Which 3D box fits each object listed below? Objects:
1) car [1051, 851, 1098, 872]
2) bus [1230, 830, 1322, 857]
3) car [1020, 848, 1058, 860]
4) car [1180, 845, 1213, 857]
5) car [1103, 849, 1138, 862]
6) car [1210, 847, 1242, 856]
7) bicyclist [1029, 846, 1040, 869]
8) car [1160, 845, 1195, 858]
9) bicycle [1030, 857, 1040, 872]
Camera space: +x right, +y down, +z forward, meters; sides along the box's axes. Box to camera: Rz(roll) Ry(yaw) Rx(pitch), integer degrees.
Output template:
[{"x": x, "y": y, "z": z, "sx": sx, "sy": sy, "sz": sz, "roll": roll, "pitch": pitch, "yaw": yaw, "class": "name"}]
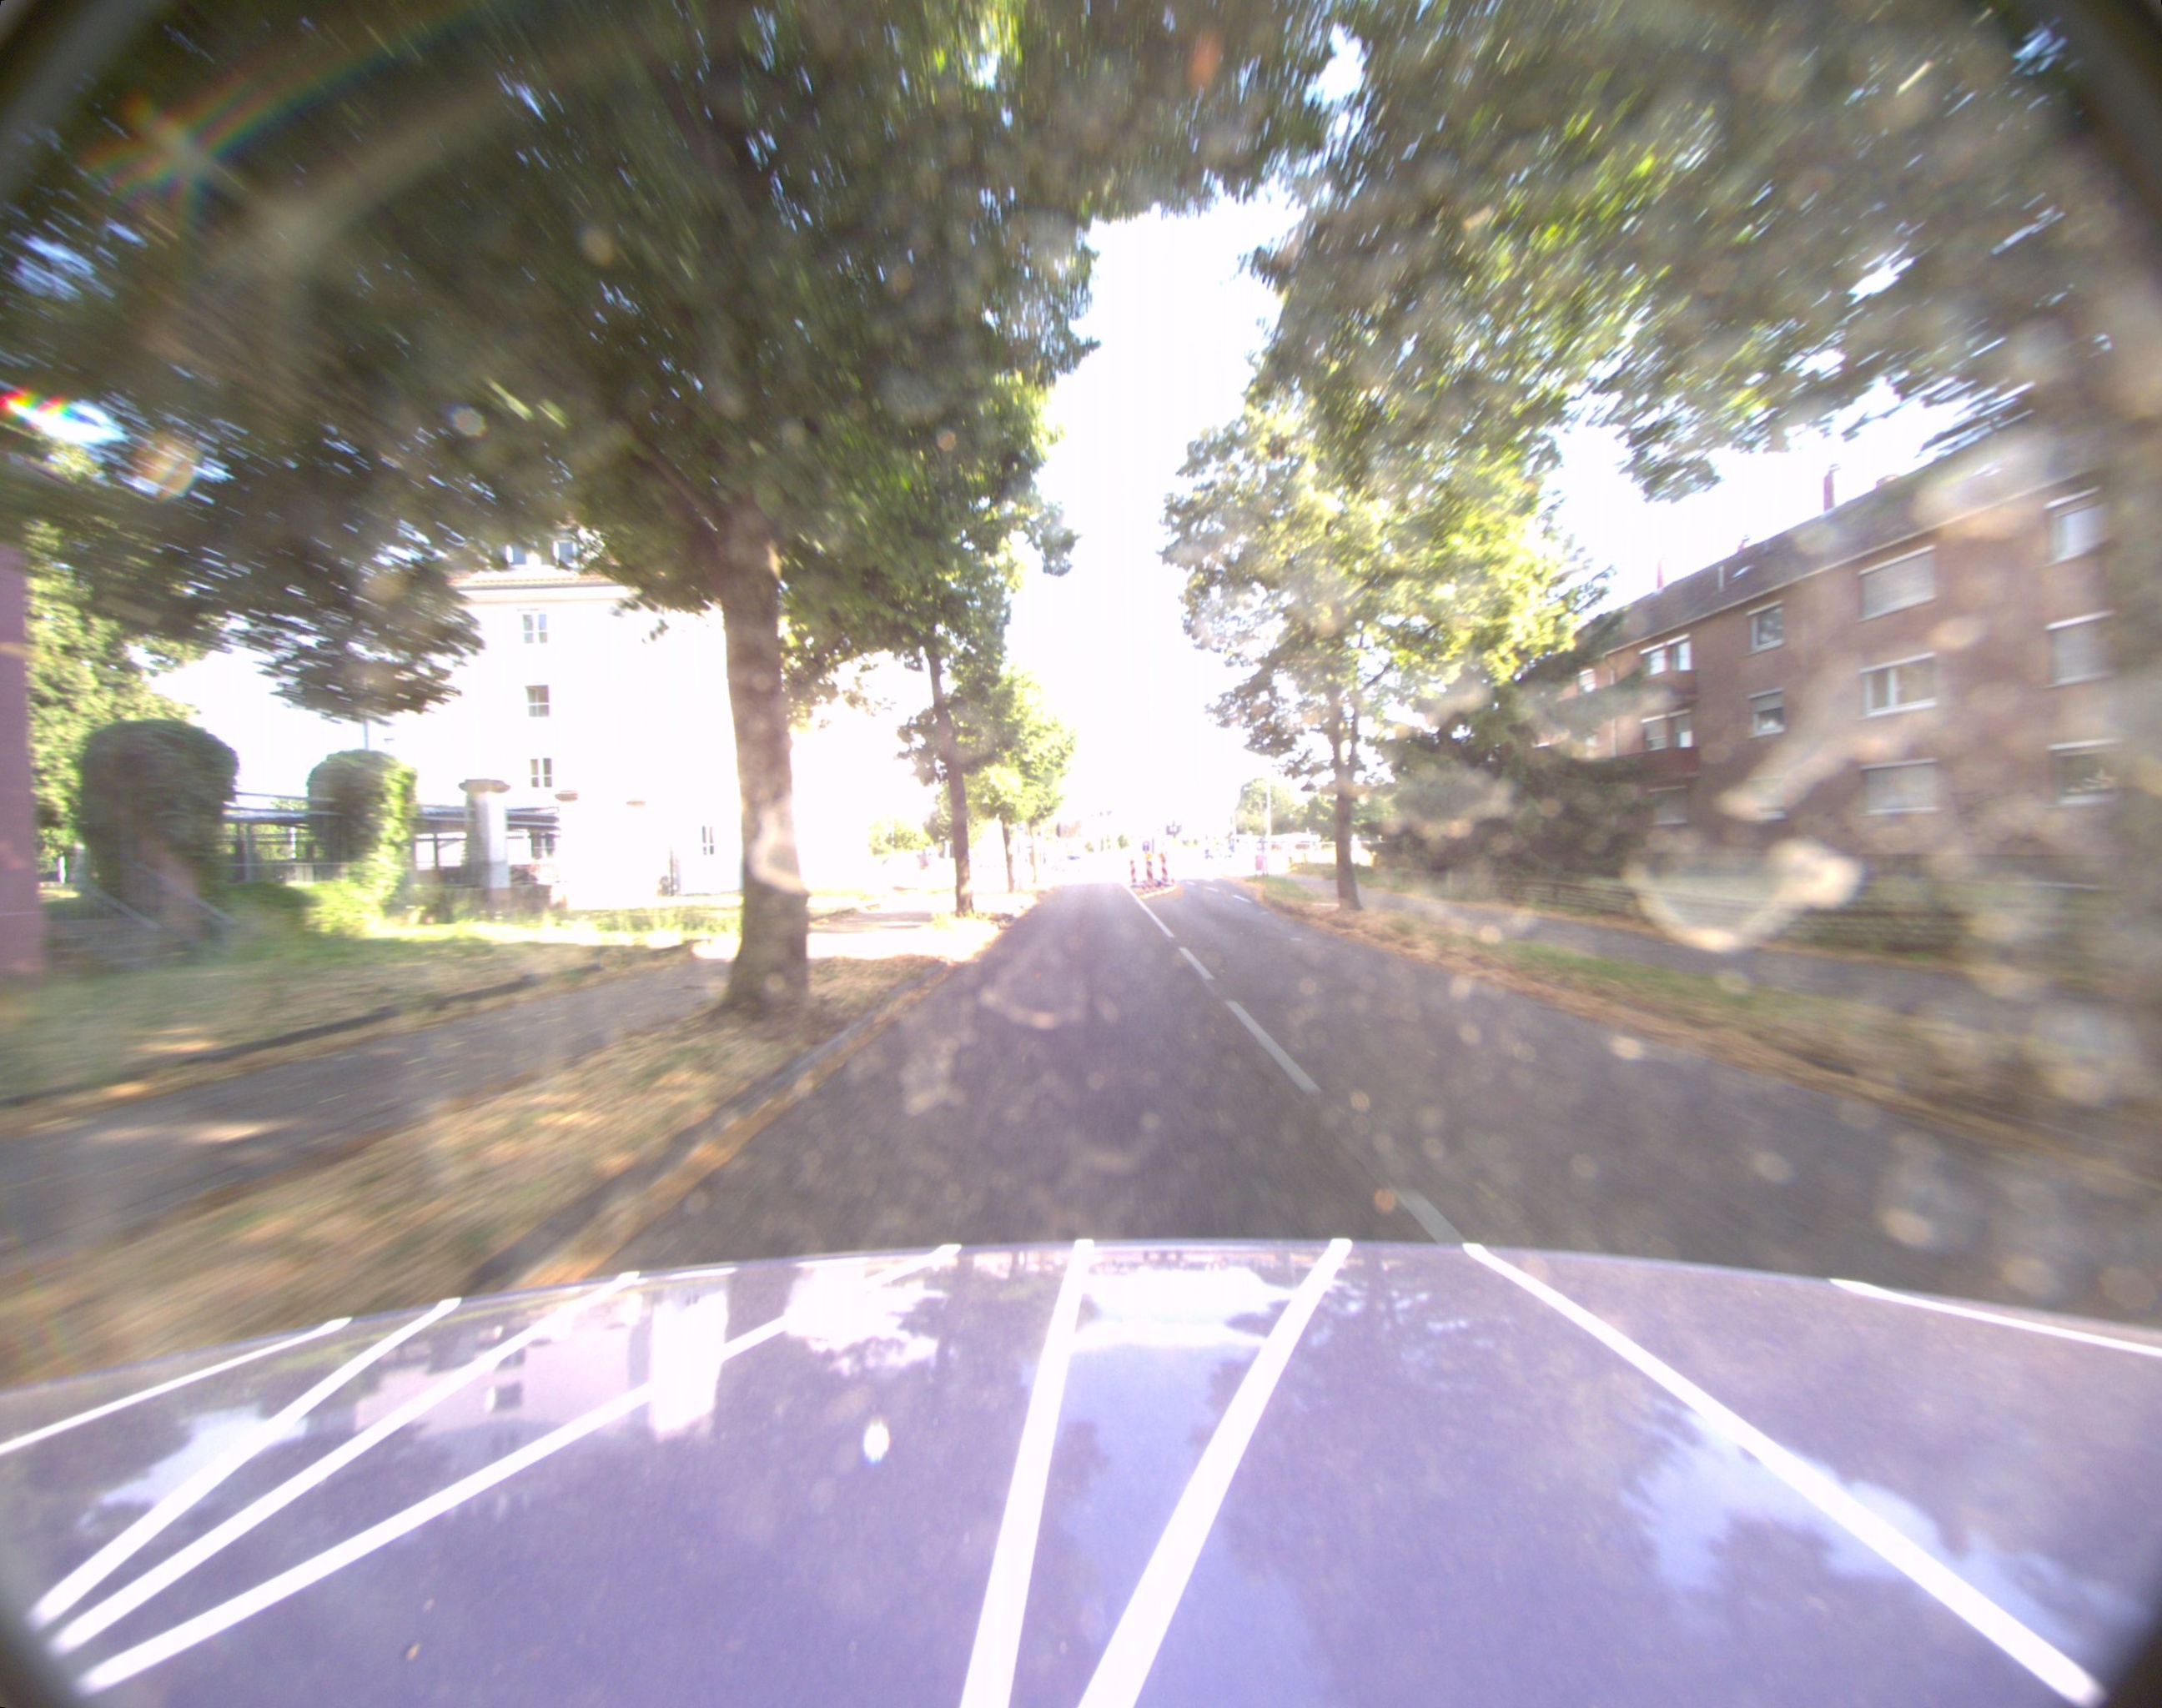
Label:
[{"x": -0.581, "y": 0.700, "z": 66.777, "sx": 3.617, "sy": 1.412, "sz": 1.768, "roll": -7, "pitch": -2, "yaw": 31, "class": "car"}, {"x": 25.524, "y": -1.425, "z": 99.291, "sx": 12.187, "sy": 3.044, "sz": 2.662, "roll": -2, "pitch": 1, "yaw": -19, "class": "bus"}, {"x": -5.482, "y": -0.051, "z": 99.992, "sx": 4.582, "sy": 1.376, "sz": 2.096, "roll": -2, "pitch": 1, "yaw": 12, "class": "car"}, {"x": 15.680, "y": -0.408, "z": 103.094, "sx": 4.005, "sy": 1.521, "sz": 1.774, "roll": -1, "pitch": 1, "yaw": -24, "class": "car"}, {"x": 4.879, "y": 0.176, "z": 94.015, "sx": 4.264, "sy": 1.521, "sz": 2.000, "roll": -1, "pitch": 1, "yaw": -1, "class": "car"}, {"x": 19.460, "y": -0.322, "z": 101.899, "sx": 4.004, "sy": 1.171, "sz": 1.642, "roll": -2, "pitch": 1, "yaw": -23, "class": "car"}, {"x": -3.660, "y": 0.281, "z": 60.208, "sx": 0.728, "sy": 1.790, "sz": 0.938, "roll": -2, "pitch": 1, "yaw": 1, "class": "bicyclist"}, {"x": 12.160, "y": -0.320, "z": 96.081, "sx": 4.001, "sy": 1.521, "sz": 1.998, "roll": -1, "pitch": 1, "yaw": -11, "class": "car"}, {"x": -3.649, "y": 0.815, "z": 60.499, "sx": 0.640, "sy": 1.116, "sz": 2.125, "roll": -2, "pitch": 1, "yaw": 1, "class": "bicycle"}]
